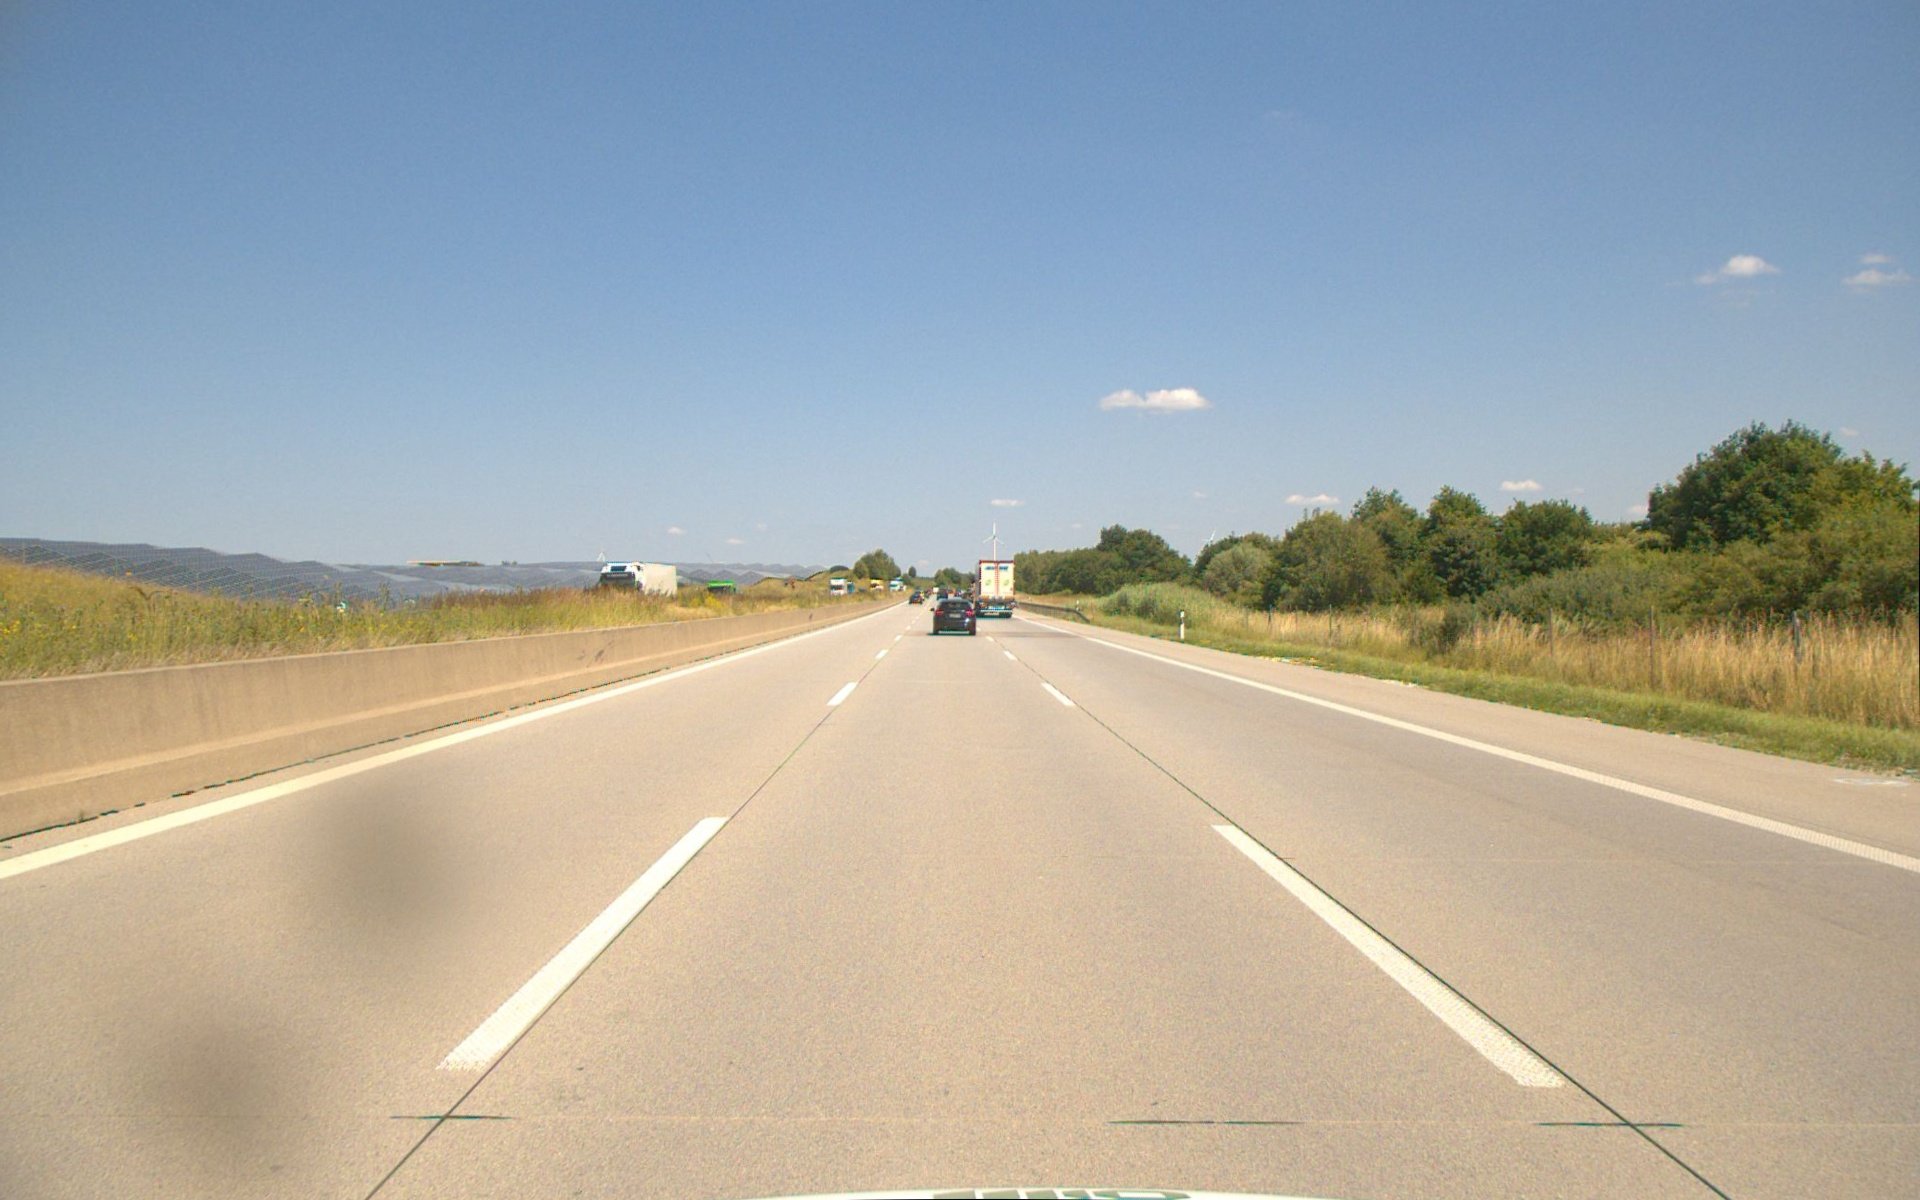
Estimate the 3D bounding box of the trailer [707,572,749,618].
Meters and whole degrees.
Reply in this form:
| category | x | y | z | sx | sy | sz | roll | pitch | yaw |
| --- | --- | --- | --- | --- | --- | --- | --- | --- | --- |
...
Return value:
| category | x | y | z | sx | sy | sz | roll | pitch | yaw |
| --- | --- | --- | --- | --- | --- | --- | --- | --- | --- |
| trailer | -22.144 | -0.475 | 158.336 | 2.676 | 4.264 | 10.255 | 0 | 0 | 0 |

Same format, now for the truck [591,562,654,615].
| category | x | y | z | sx | sy | sz | roll | pitch | yaw |
| --- | --- | --- | --- | --- | --- | --- | --- | --- | --- |
| truck | -21.216 | -0.700 | 104.327 | 2.775 | 3.213 | 5.825 | -1 | 0 | -1 |

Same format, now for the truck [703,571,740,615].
| category | x | y | z | sx | sy | sz | roll | pitch | yaw |
| --- | --- | --- | --- | --- | --- | --- | --- | --- | --- |
| truck | -22.143 | -0.636 | 153.794 | 2.689 | 4.020 | 4.352 | 1 | 0 | -1 |

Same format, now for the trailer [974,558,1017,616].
| category | x | y | z | sx | sy | sz | roll | pitch | yaw |
| --- | --- | --- | --- | --- | --- | --- | --- | --- | --- |
| trailer | 2.608 | -0.940 | 123.786 | 2.794 | 4.113 | 12.711 | 1 | 0 | 0 |

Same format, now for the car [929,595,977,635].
| category | x | y | z | sx | sy | sz | roll | pitch | yaw |
| --- | --- | --- | --- | --- | --- | --- | --- | --- | --- |
| car | -0.326 | 0.608 | 67.952 | 1.871 | 1.518 | 4.191 | 2 | 0 | -1 |

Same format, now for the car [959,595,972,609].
| category | x | y | z | sx | sy | sz | roll | pitch | yaw |
| --- | --- | --- | --- | --- | --- | --- | --- | --- | --- |
| car | 0.763 | 0.292 | 244.712 | 1.789 | 1.940 | 4.001 | 1 | 0 | 2 |

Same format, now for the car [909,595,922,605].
| category | x | y | z | sx | sy | sz | roll | pitch | yaw |
| --- | --- | --- | --- | --- | --- | --- | --- | --- | --- |
| car | -5.925 | 0.056 | 222.886 | 1.622 | 1.217 | 3.959 | 3 | 0 | -1 |
